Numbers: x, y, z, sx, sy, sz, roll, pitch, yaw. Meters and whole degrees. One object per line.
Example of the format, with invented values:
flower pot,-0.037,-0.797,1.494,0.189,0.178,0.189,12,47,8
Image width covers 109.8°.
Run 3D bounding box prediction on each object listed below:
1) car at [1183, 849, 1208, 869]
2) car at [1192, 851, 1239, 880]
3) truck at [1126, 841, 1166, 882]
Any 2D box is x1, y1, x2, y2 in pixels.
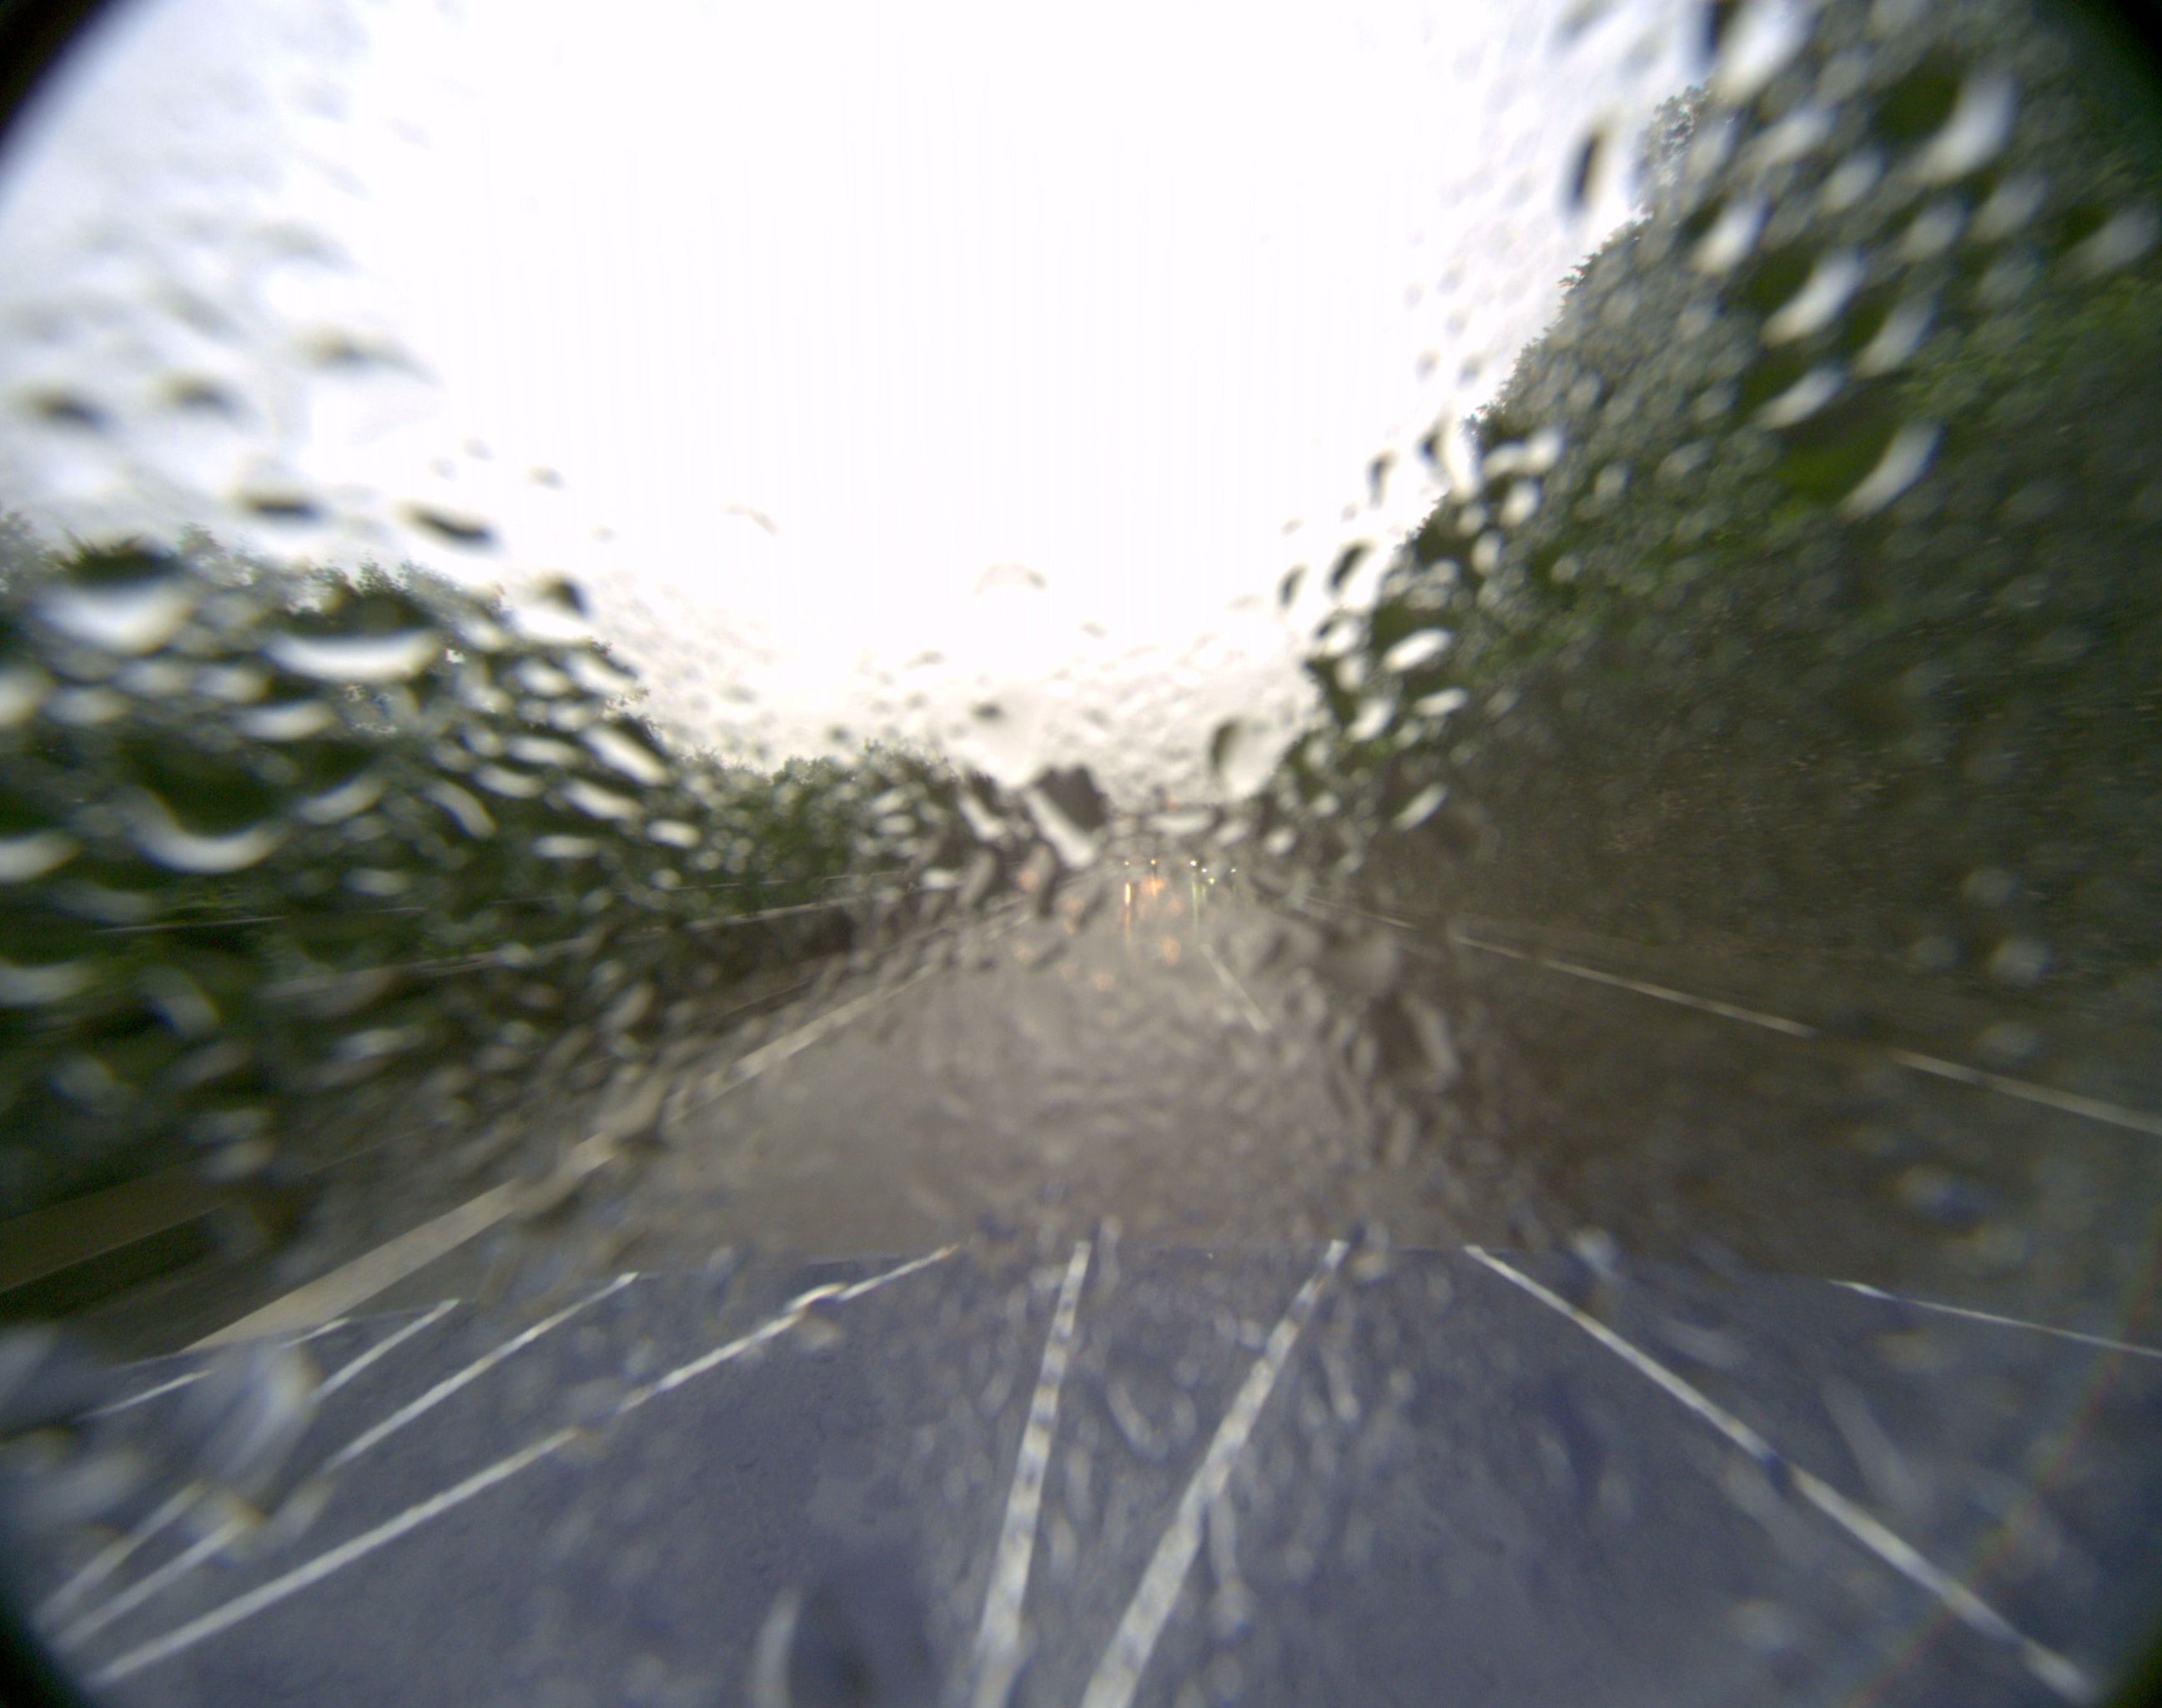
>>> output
car,9.171,0.367,60.433,1.826,1.375,4.002,-3,0,10
car,6.901,0.560,39.333,1.827,1.375,4.000,-2,0,2
truck,4.337,0.432,49.872,2.107,2.481,8.007,0,0,8
